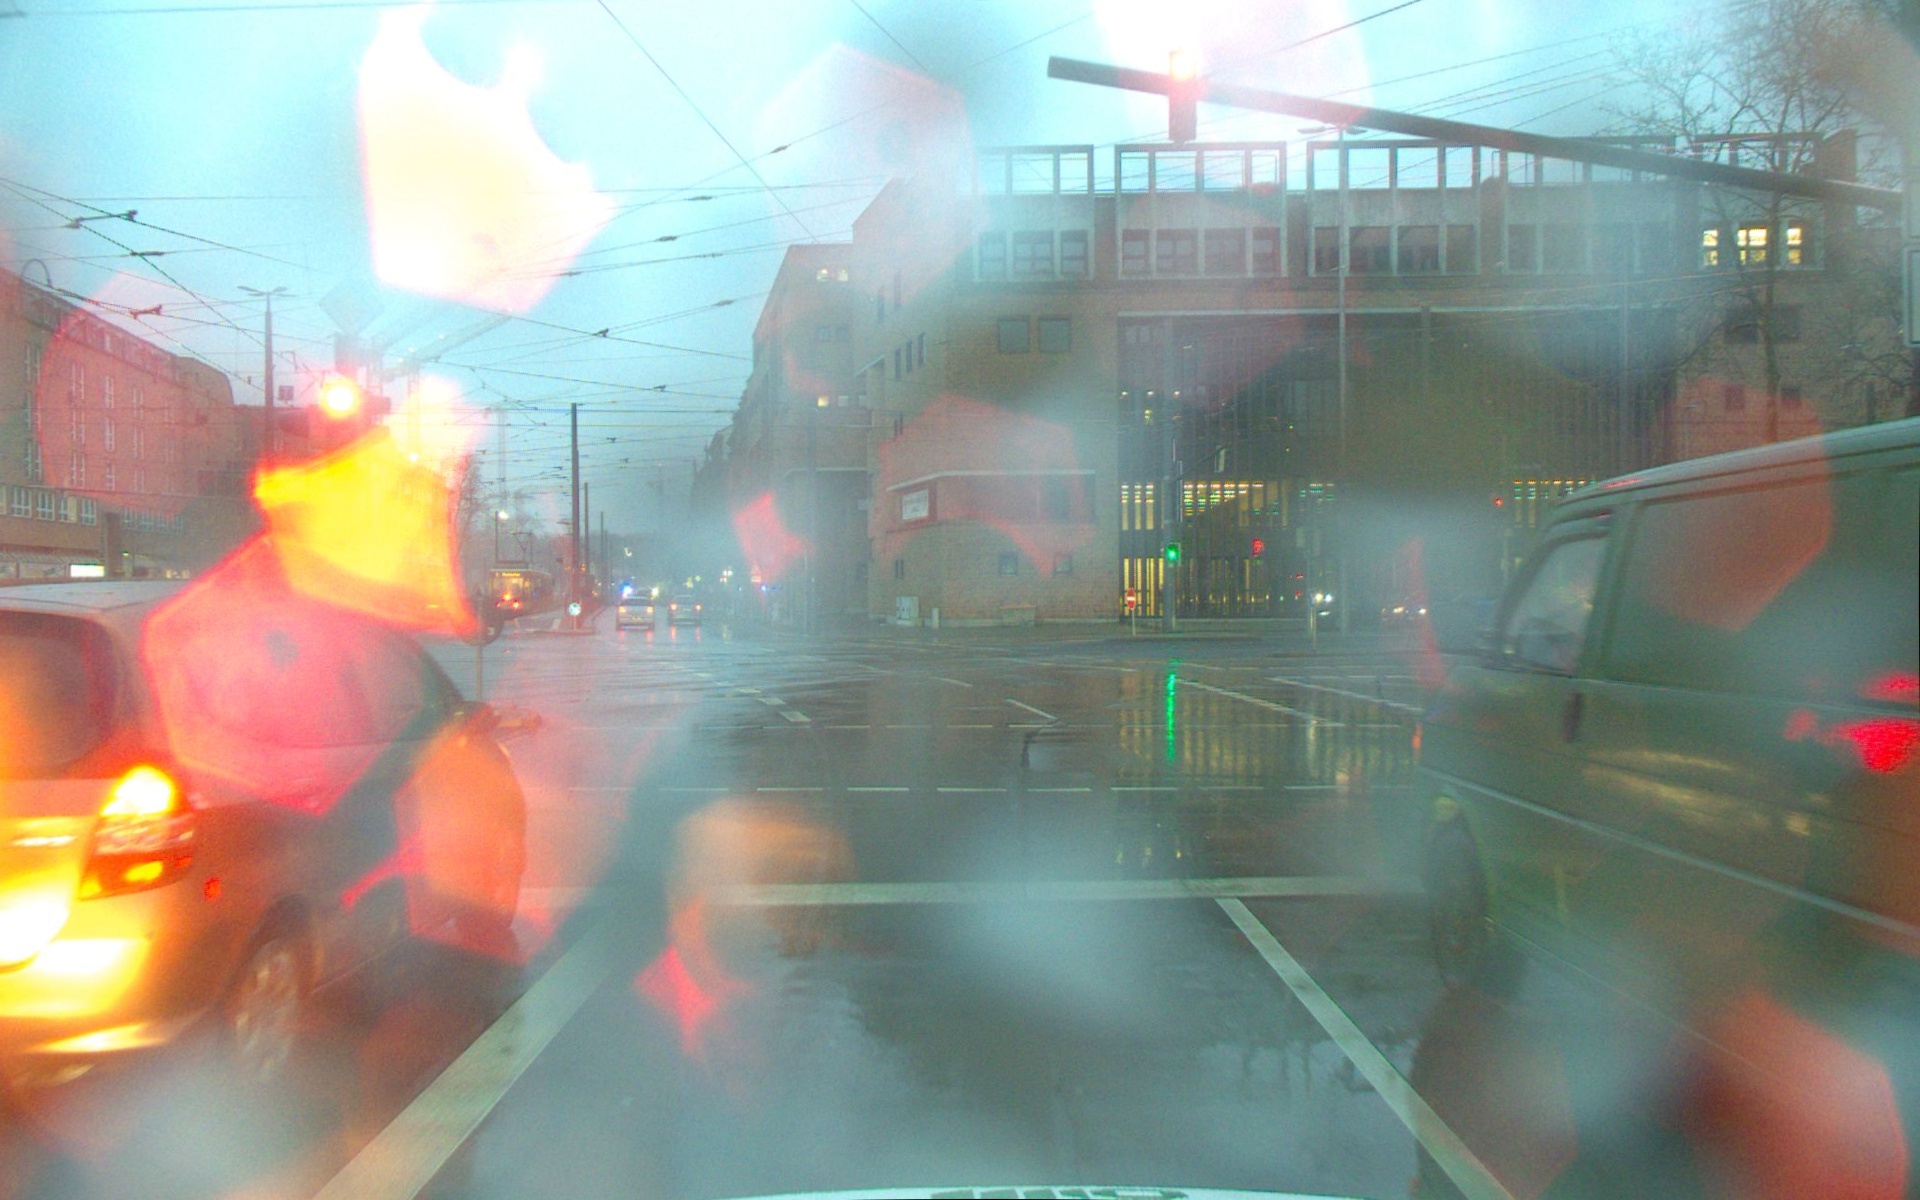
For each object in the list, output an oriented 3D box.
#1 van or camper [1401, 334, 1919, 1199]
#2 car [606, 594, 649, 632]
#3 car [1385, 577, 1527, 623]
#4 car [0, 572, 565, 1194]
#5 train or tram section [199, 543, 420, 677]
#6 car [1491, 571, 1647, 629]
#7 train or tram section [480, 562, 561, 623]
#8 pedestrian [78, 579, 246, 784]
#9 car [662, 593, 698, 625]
[{"bbox_3d":[2.713,0.445,4.567,1.721,1.940,4.418,1,0,-1],"label":"van or camper"},{"bbox_3d":[-15.428,0.586,76.831,1.837,1.606,3.990,2,0,-11],"label":"car"},{"bbox_3d":[15.716,-0.021,52.497,3.911,1.284,1.846,-1,4,-7],"label":"car"},{"bbox_3d":[-2.667,0.678,5.836,1.663,1.485,3.757,-1,0,-1],"label":"car"},{"bbox_3d":[-21.350,0.254,56.015,2.812,3.677,20.025,-1,0,-10],"label":"train or tram section"},{"bbox_3d":[17.986,-0.012,48.964,3.911,1.530,1.846,-1,4,-7],"label":"car"},{"bbox_3d":[-29.014,-0.486,110.514,3.133,3.496,27.758,-1,0,-11],"label":"train or tram section"},{"bbox_3d":[-6.694,0.665,13.893,0.702,1.629,1.031,-3,-1,40],"label":"pedestrian"},{"bbox_3d":[-15.144,0.458,89.531,1.836,1.606,3.992,2,0,-9],"label":"car"}]
